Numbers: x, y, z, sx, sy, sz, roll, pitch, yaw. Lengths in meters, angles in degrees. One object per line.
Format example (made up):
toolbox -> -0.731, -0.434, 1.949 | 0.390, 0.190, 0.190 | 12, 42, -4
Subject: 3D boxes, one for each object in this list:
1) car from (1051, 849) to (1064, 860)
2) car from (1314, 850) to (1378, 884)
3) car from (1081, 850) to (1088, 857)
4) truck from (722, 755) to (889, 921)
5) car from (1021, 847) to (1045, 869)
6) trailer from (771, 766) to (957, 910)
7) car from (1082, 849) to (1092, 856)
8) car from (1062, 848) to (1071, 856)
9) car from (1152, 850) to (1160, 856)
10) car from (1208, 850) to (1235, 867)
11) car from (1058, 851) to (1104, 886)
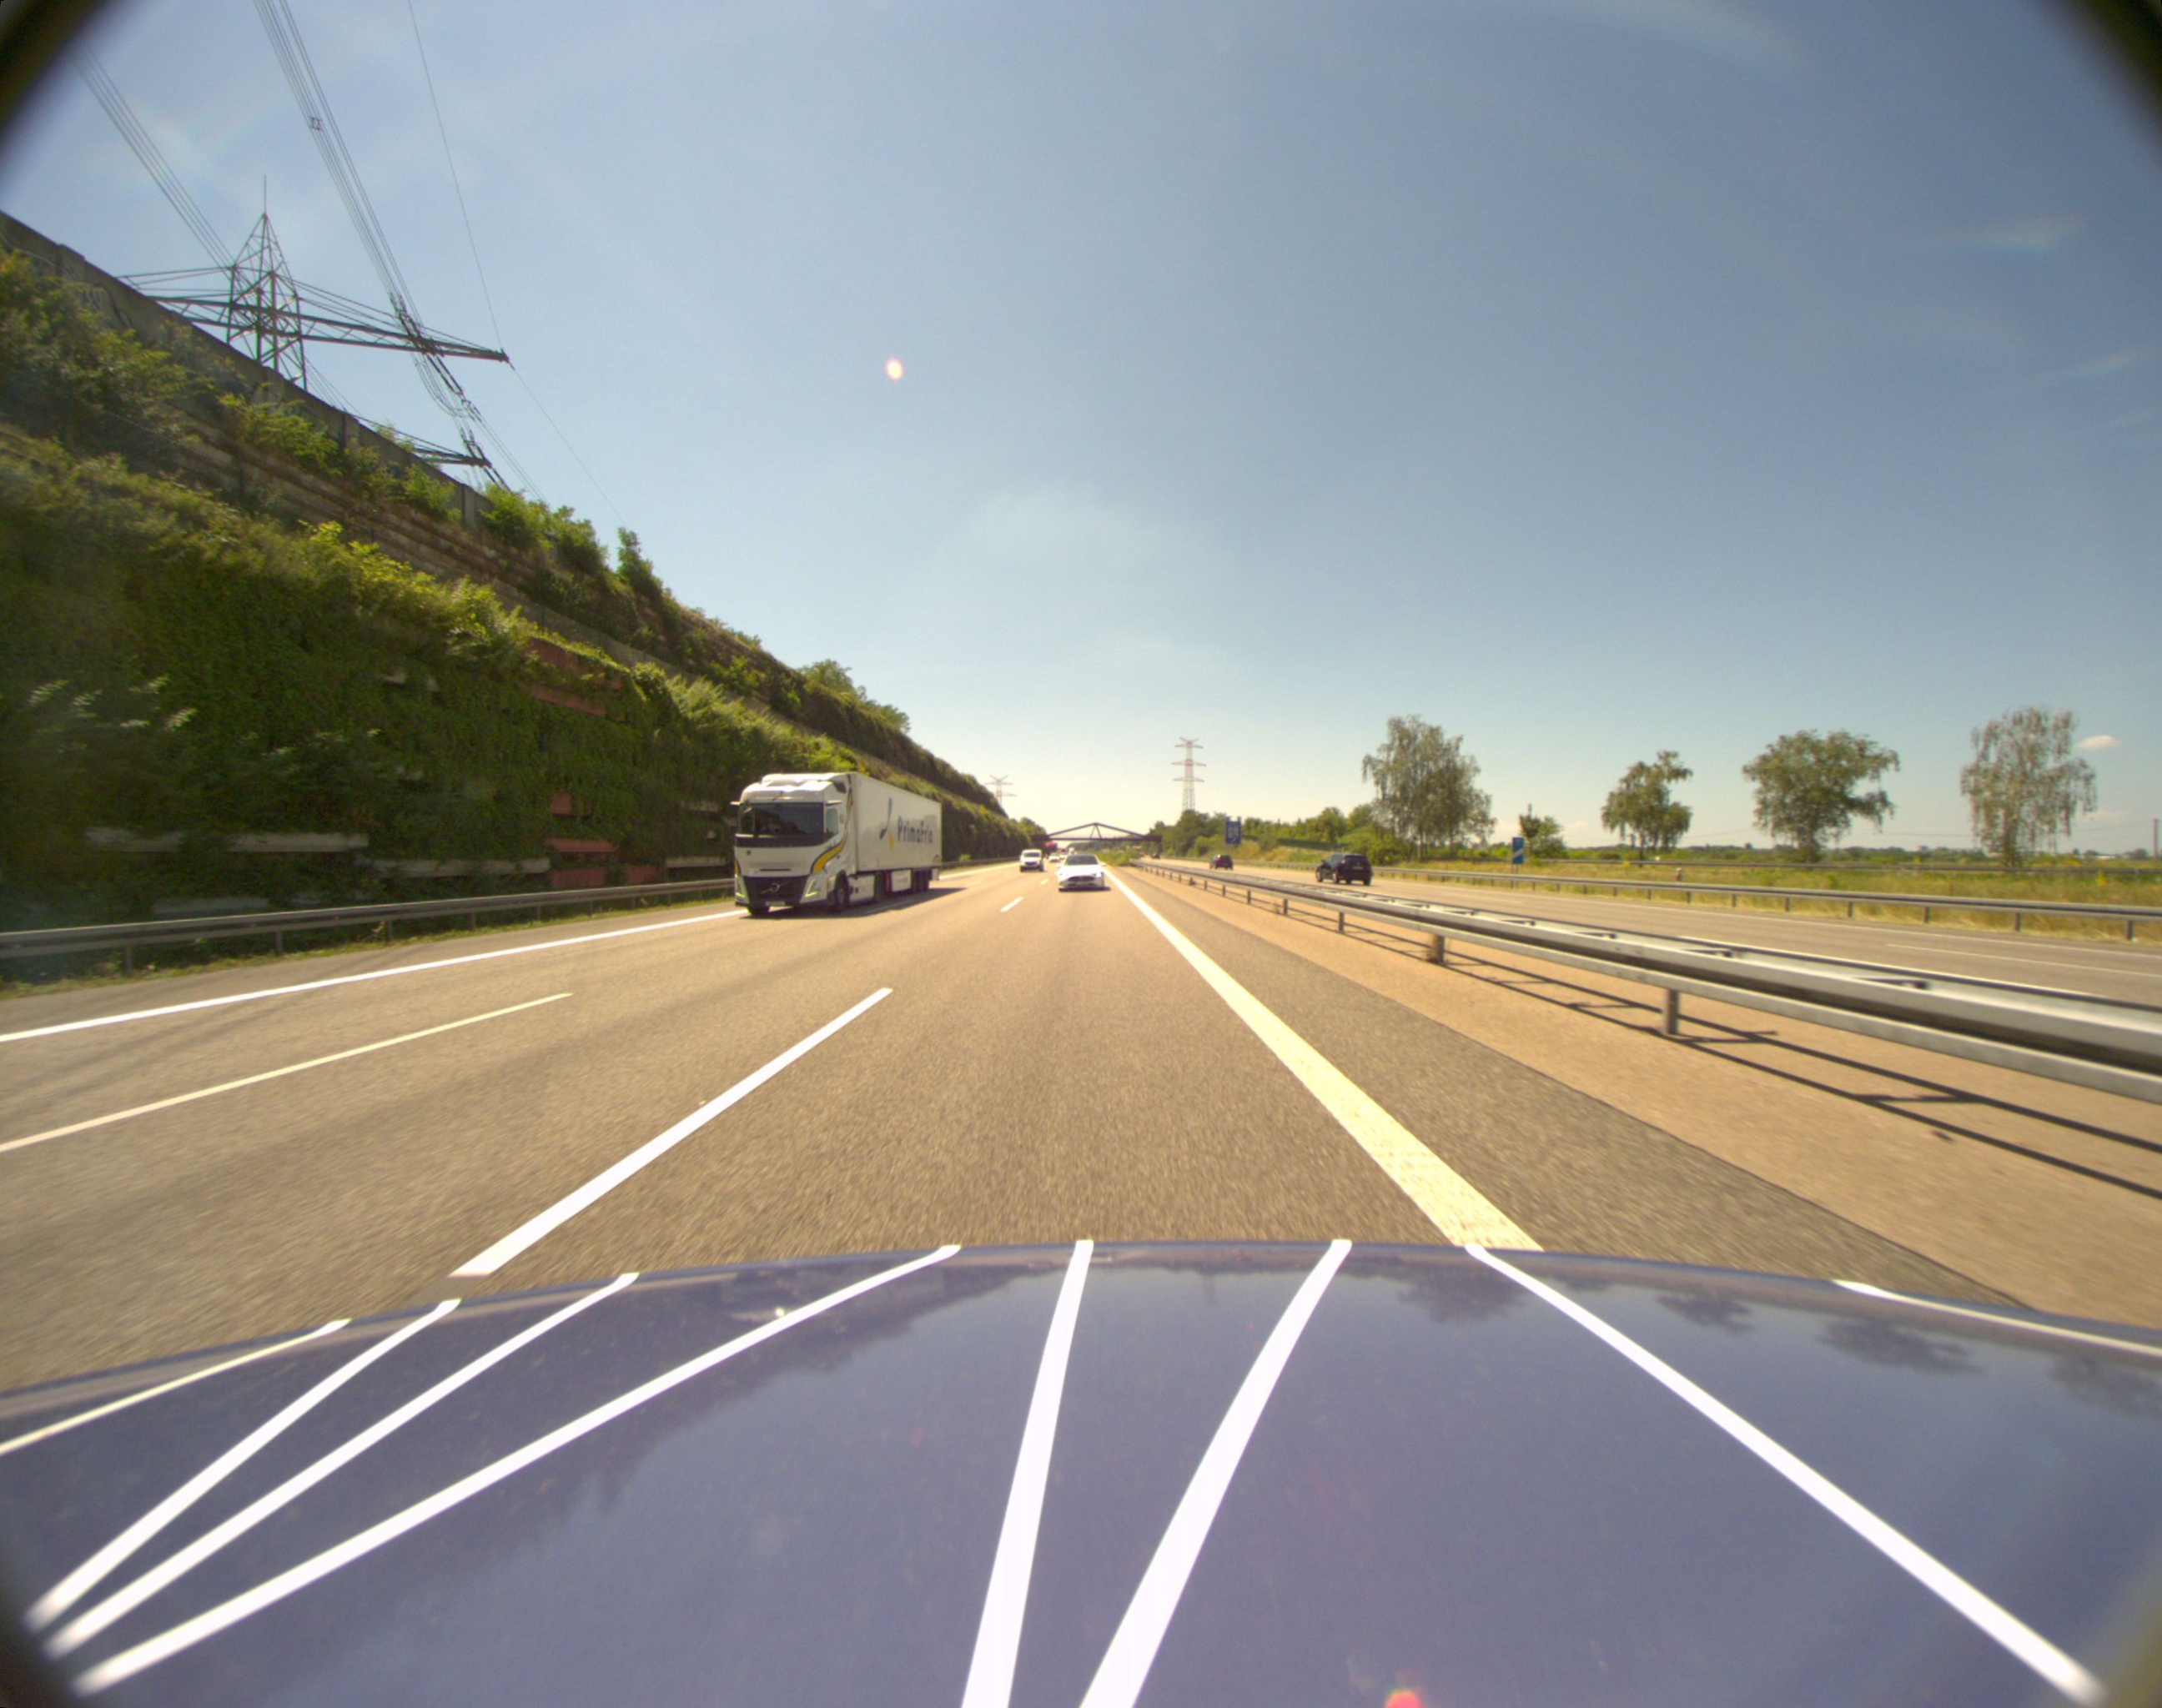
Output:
car -> -3.507, 0.066, 114.077 | 1.784, 1.475, 3.999 | -1, 1, -1
car -> 14.086, 0.647, 40.623 | 1.845, 1.620, 4.413 | 2, 1, 1
car -> 1.102, -0.260, 220.475 | 1.998, 2.002, 3.999 | -2, 1, 1
truck -> -7.756, -0.441, 22.333 | 2.514, 4.196, 6.255 | 0, 1, 1
car -> -3.982, 0.311, 63.475 | 1.784, 1.783, 3.999 | -1, 1, -1
trailer -> -7.725, -0.504, 30.708 | 2.521, 4.187, 17.025 | 0, 0, 0
car -> 1.221, -0.274, 154.413 | 1.784, 1.475, 3.999 | 1, 0, -1
car -> -3.033, -0.411, 154.595 | 1.784, 1.475, 3.999 | -1, 1, -1
car -> 18.798, -0.342, 190.264 | 1.545, 1.441, 4.798 | 1, 1, 0
car -> 13.639, 0.405, 73.902 | 1.622, 1.451, 4.283 | 3, 0, -1
car -> -0.031, 0.634, 35.012 | 1.999, 1.474, 4.107 | -1, 1, -1
